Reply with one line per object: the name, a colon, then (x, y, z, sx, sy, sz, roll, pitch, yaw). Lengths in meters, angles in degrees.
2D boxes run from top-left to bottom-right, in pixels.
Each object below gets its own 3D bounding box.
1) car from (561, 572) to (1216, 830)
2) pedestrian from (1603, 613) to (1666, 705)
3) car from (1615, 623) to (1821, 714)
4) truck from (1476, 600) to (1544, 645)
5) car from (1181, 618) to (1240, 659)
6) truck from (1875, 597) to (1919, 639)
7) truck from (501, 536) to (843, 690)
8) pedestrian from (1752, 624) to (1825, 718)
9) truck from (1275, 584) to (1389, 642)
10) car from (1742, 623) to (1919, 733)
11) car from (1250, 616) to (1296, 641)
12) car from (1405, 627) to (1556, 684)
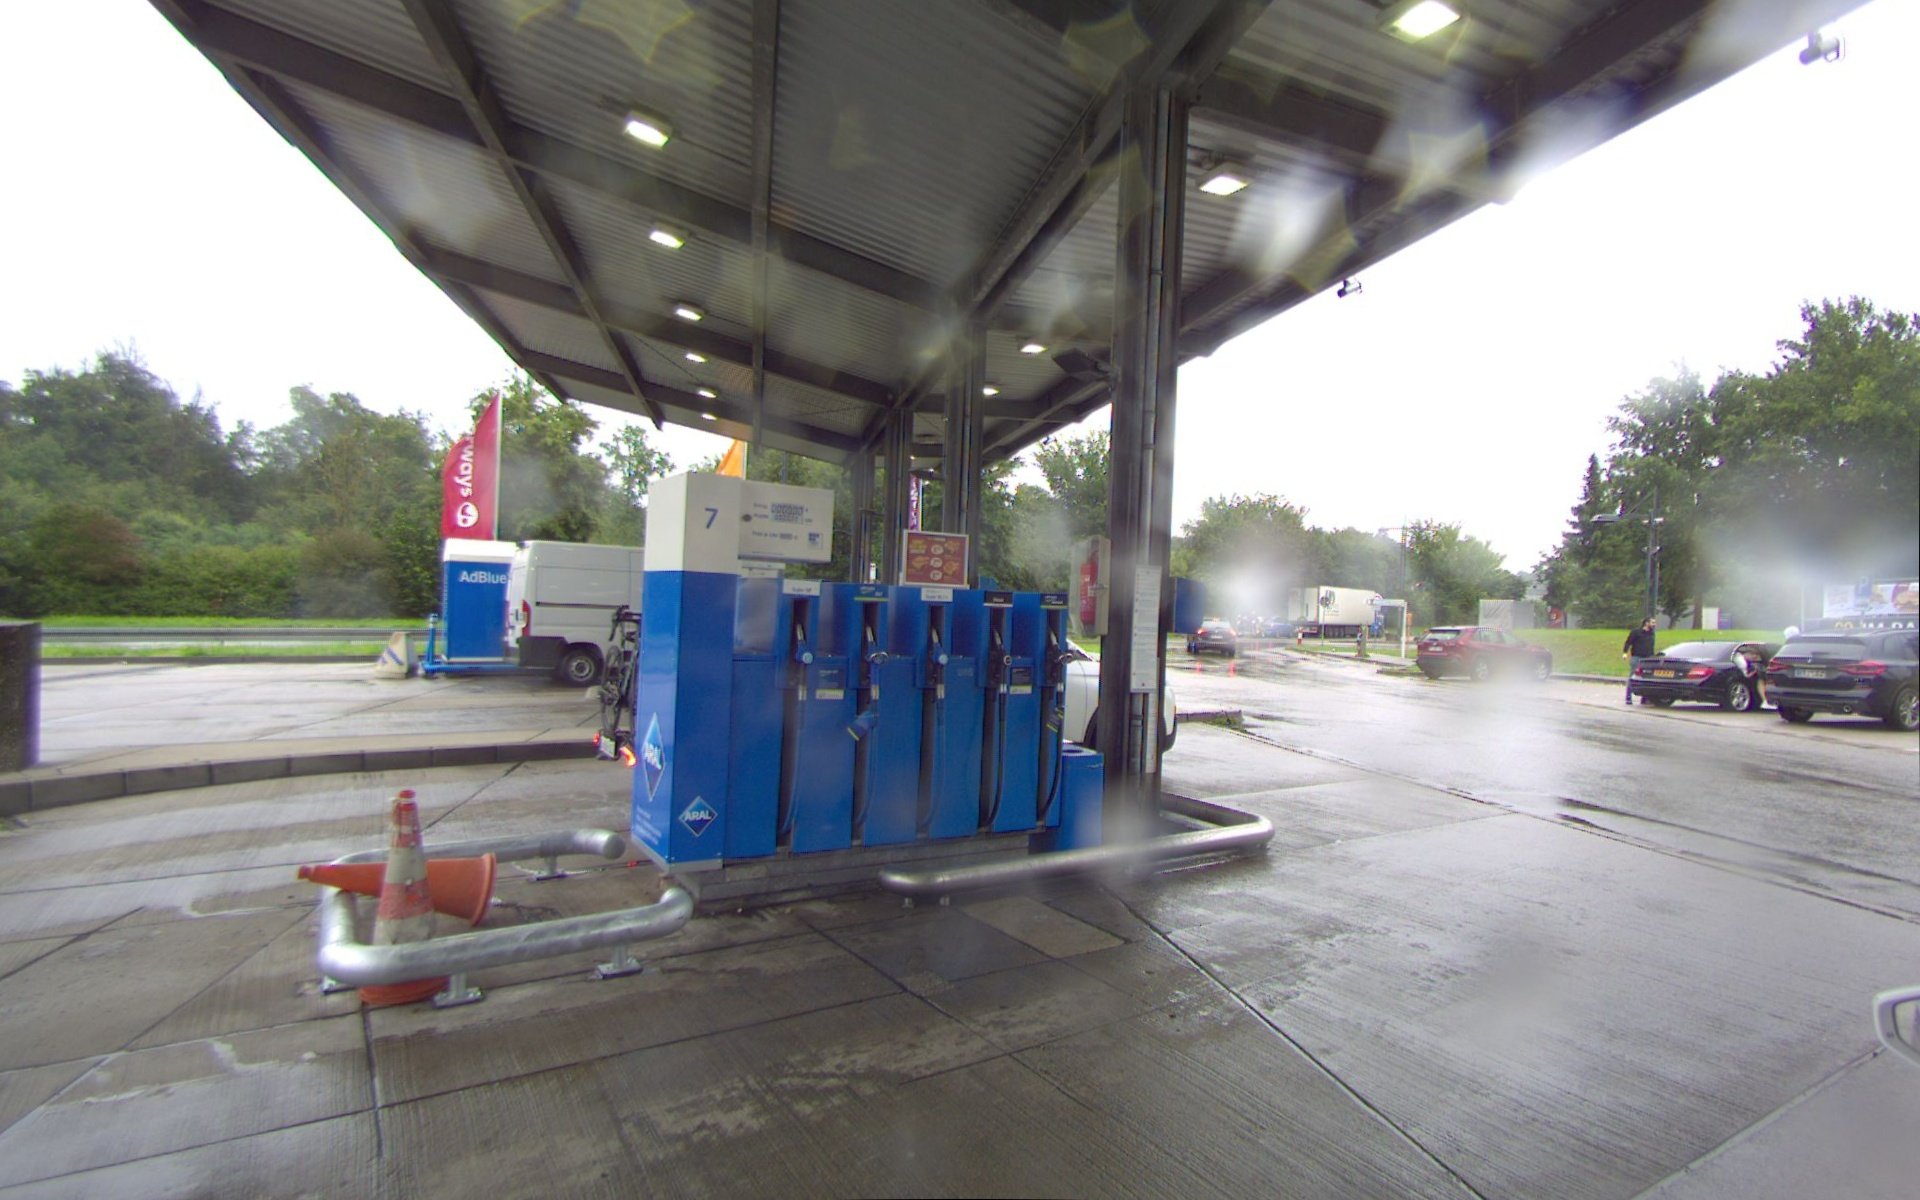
car: (-0.434, 0.701, 8.457, 5.210, 1.629, 1.852, 2, 0, -30)
pedestrian: (14.502, 1.254, 21.621, 0.690, 1.912, 0.893, 2, 0, -1)
car: (15.933, 1.356, 21.089, 4.293, 1.734, 2.007, 1, -2, -31)
truck: (40.606, 1.669, 73.997, 2.452, 3.126, 7.311, 2, 0, 45)
car: (11.161, 1.695, 45.030, 1.960, 1.700, 4.002, 2, -1, 5)
truck: (68.845, 1.322, 71.700, 5.285, 2.959, 2.191, 2, 0, -5)
truck: (-5.346, 0.292, 18.938, 5.793, 2.527, 2.221, 2, 0, -30)
pedestrian: (15.363, 1.289, 18.650, 0.938, 1.653, 0.702, 2, 0, 34)
truck: (31.869, 1.183, 85.150, 3.498, 4.397, 16.922, 2, 0, 40)
car: (16.164, 1.271, 17.466, 4.274, 1.734, 2.016, 1, -1, -18)
car: (22.894, 2.059, 73.435, 1.787, 1.704, 3.934, 2, 0, 40)
car: (16.068, 1.669, 31.000, 4.283, 1.666, 1.933, 1, -2, -25)
